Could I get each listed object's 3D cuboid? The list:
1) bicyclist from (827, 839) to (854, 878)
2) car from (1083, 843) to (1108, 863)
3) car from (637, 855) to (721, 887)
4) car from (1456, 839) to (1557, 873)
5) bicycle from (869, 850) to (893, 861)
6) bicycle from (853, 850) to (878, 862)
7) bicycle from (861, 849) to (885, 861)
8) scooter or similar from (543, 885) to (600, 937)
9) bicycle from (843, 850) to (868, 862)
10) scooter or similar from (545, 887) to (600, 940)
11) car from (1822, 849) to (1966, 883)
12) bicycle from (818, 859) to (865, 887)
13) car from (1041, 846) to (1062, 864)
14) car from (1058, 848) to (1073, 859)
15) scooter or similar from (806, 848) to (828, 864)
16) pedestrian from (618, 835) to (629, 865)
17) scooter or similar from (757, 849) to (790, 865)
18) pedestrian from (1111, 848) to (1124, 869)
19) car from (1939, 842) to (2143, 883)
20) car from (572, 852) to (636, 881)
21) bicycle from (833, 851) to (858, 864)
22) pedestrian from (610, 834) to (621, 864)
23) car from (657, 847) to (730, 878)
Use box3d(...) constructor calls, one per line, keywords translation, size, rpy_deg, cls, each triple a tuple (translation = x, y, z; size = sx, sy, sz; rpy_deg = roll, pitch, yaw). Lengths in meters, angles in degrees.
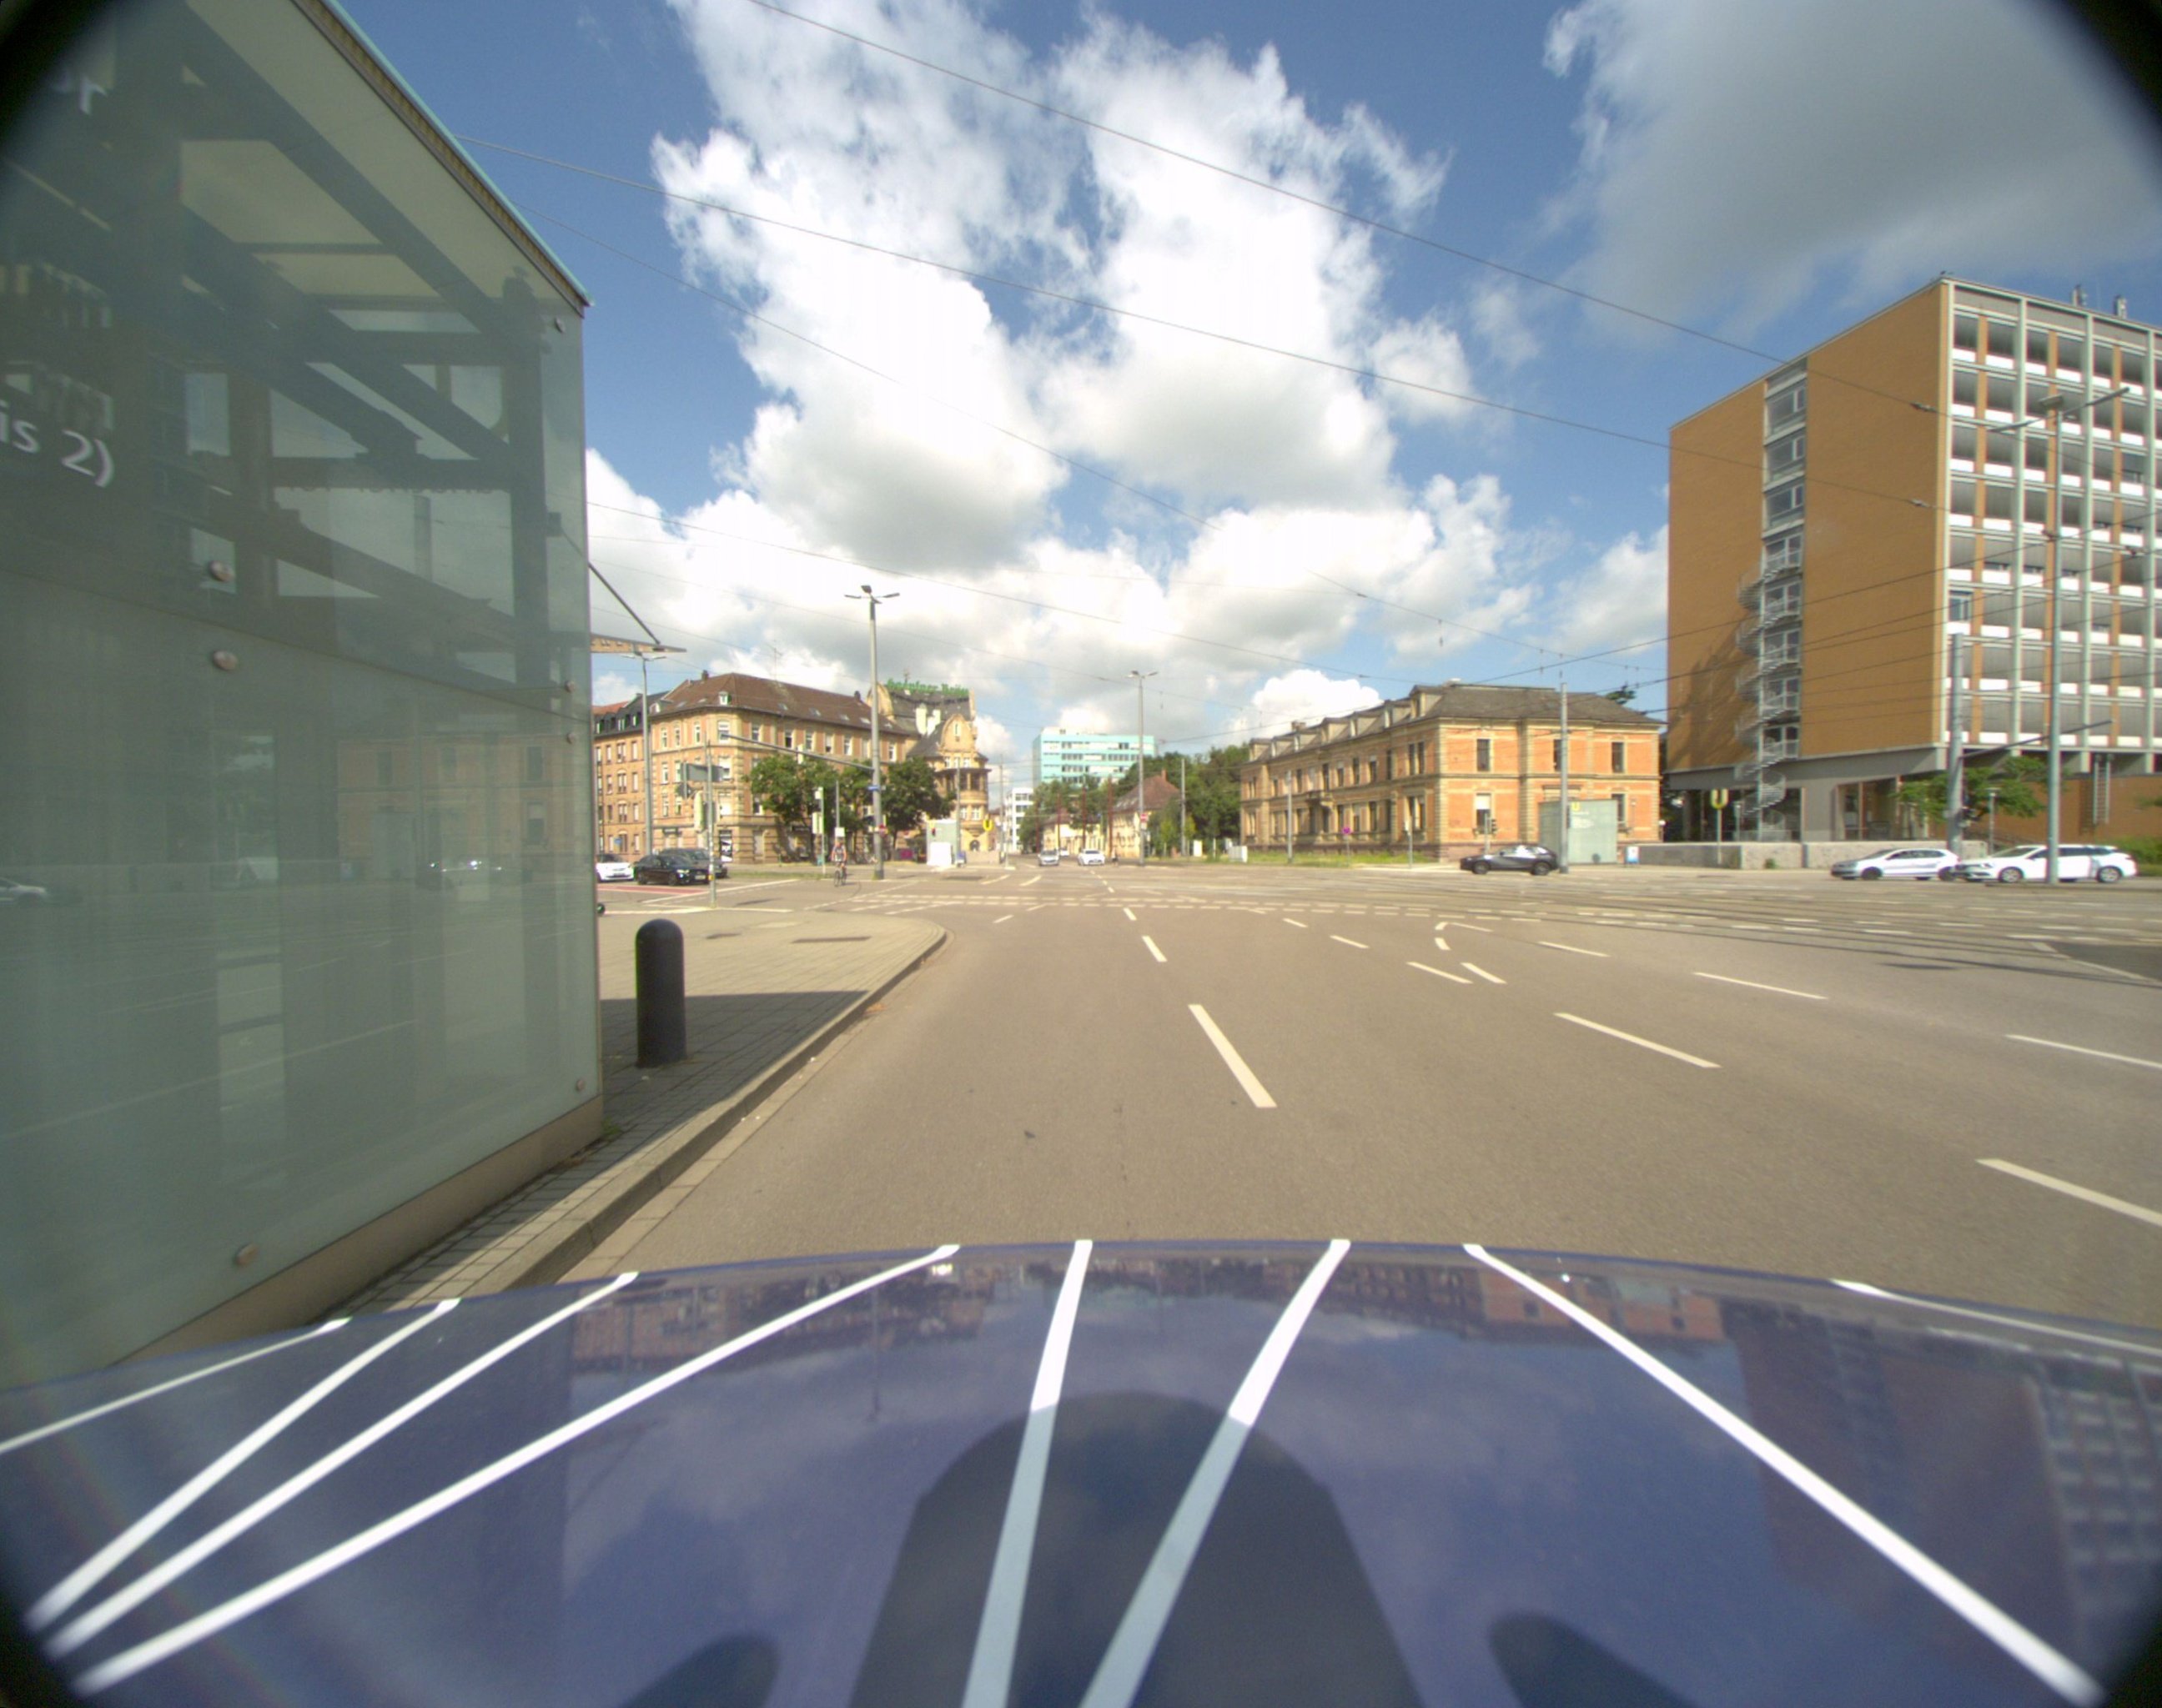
box3d(translation=(-10.408, 0.199, 32.854), size=(0.614, 1.664, 1.149), rpy_deg=(-1, -1, 11), cls="bicyclist")
box3d(translation=(1.221, -0.030, 65.514), size=(1.956, 1.586, 4.506), rpy_deg=(-1, -1, -1), cls="car")
box3d(translation=(-18.823, 0.754, 35.523), size=(3.929, 1.368, 1.874), rpy_deg=(0, 1, 36), cls="car")
box3d(translation=(21.188, 0.126, 38.010), size=(4.202, 1.567, 1.649), rpy_deg=(-1, -1, 23), cls="car")
box3d(translation=(-20.070, 0.153, 76.350), size=(2.677, 1.159, 0.763), rpy_deg=(0, 2, 35), cls="bicycle")
box3d(translation=(-21.113, 0.154, 74.453), size=(2.677, 1.159, 0.763), rpy_deg=(0, 2, 35), cls="bicycle")
box3d(translation=(-20.630, 0.112, 75.360), size=(2.677, 1.159, 0.763), rpy_deg=(0, 2, 34), cls="bicycle")
box3d(translation=(-12.379, 1.372, 18.477), size=(0.380, 1.189, 1.067), rpy_deg=(-1, -1, 43), cls="scooter or similar")
box3d(translation=(-21.846, 0.175, 73.637), size=(2.677, 1.159, 0.763), rpy_deg=(0, 0, 34), cls="bicycle")
box3d(translation=(-12.072, 1.386, 18.037), size=(1.067, 1.189, 0.380), rpy_deg=(0, -1, -36), cls="scooter or similar")
box3d(translation=(35.295, 0.520, 33.098), size=(4.071, 1.377, 1.590), rpy_deg=(-1, -1, 14), cls="car")
box3d(translation=(-10.381, 0.792, 33.028), size=(0.876, 1.064, 2.199), rpy_deg=(0, 2, 16), cls="bicycle")
box3d(translation=(-2.693, 0.120, 69.441), size=(1.837, 1.586, 4.000), rpy_deg=(-1, -1, -1), cls="car")
box3d(translation=(-3.030, -0.072, 150.582), size=(2.001, 2.001, 3.995), rpy_deg=(-1, -1, -16), cls="car")
box3d(translation=(-24.847, 0.185, 71.423), size=(2.008, 1.474, 0.882), rpy_deg=(2, 3, 32), cls="scooter or similar")
box3d(translation=(-47.700, -0.392, 79.170), size=(0.885, 3.057, 0.728), rpy_deg=(-1, -1, 41), cls="pedestrian")
box3d(translation=(-27.601, 0.249, 68.156), size=(2.797, 1.377, 1.182), rpy_deg=(-1, -1, 26), cls="scooter or similar")
box3d(translation=(2.657, 0.335, 55.338), size=(0.543, 1.507, 0.744), rpy_deg=(0, 2, 40), cls="pedestrian")
box3d(translation=(36.593, 0.337, 29.127), size=(4.665, 1.421, 1.766), rpy_deg=(-1, -1, 17), cls="car")
box3d(translation=(-25.071, 0.657, 39.900), size=(3.646, 1.461, 1.694), rpy_deg=(-2, -1, 37), cls="car")
box3d(translation=(-22.488, 0.318, 72.639), size=(2.677, 1.159, 0.763), rpy_deg=(0, 2, 34), cls="bicycle")
box3d(translation=(-48.177, -0.530, 78.591), size=(0.885, 3.102, 0.669), rpy_deg=(-1, -1, 41), cls="pedestrian")
box3d(translation=(-20.538, 0.417, 40.222), size=(3.725, 1.565, 2.004), rpy_deg=(0, 1, 37), cls="car")
